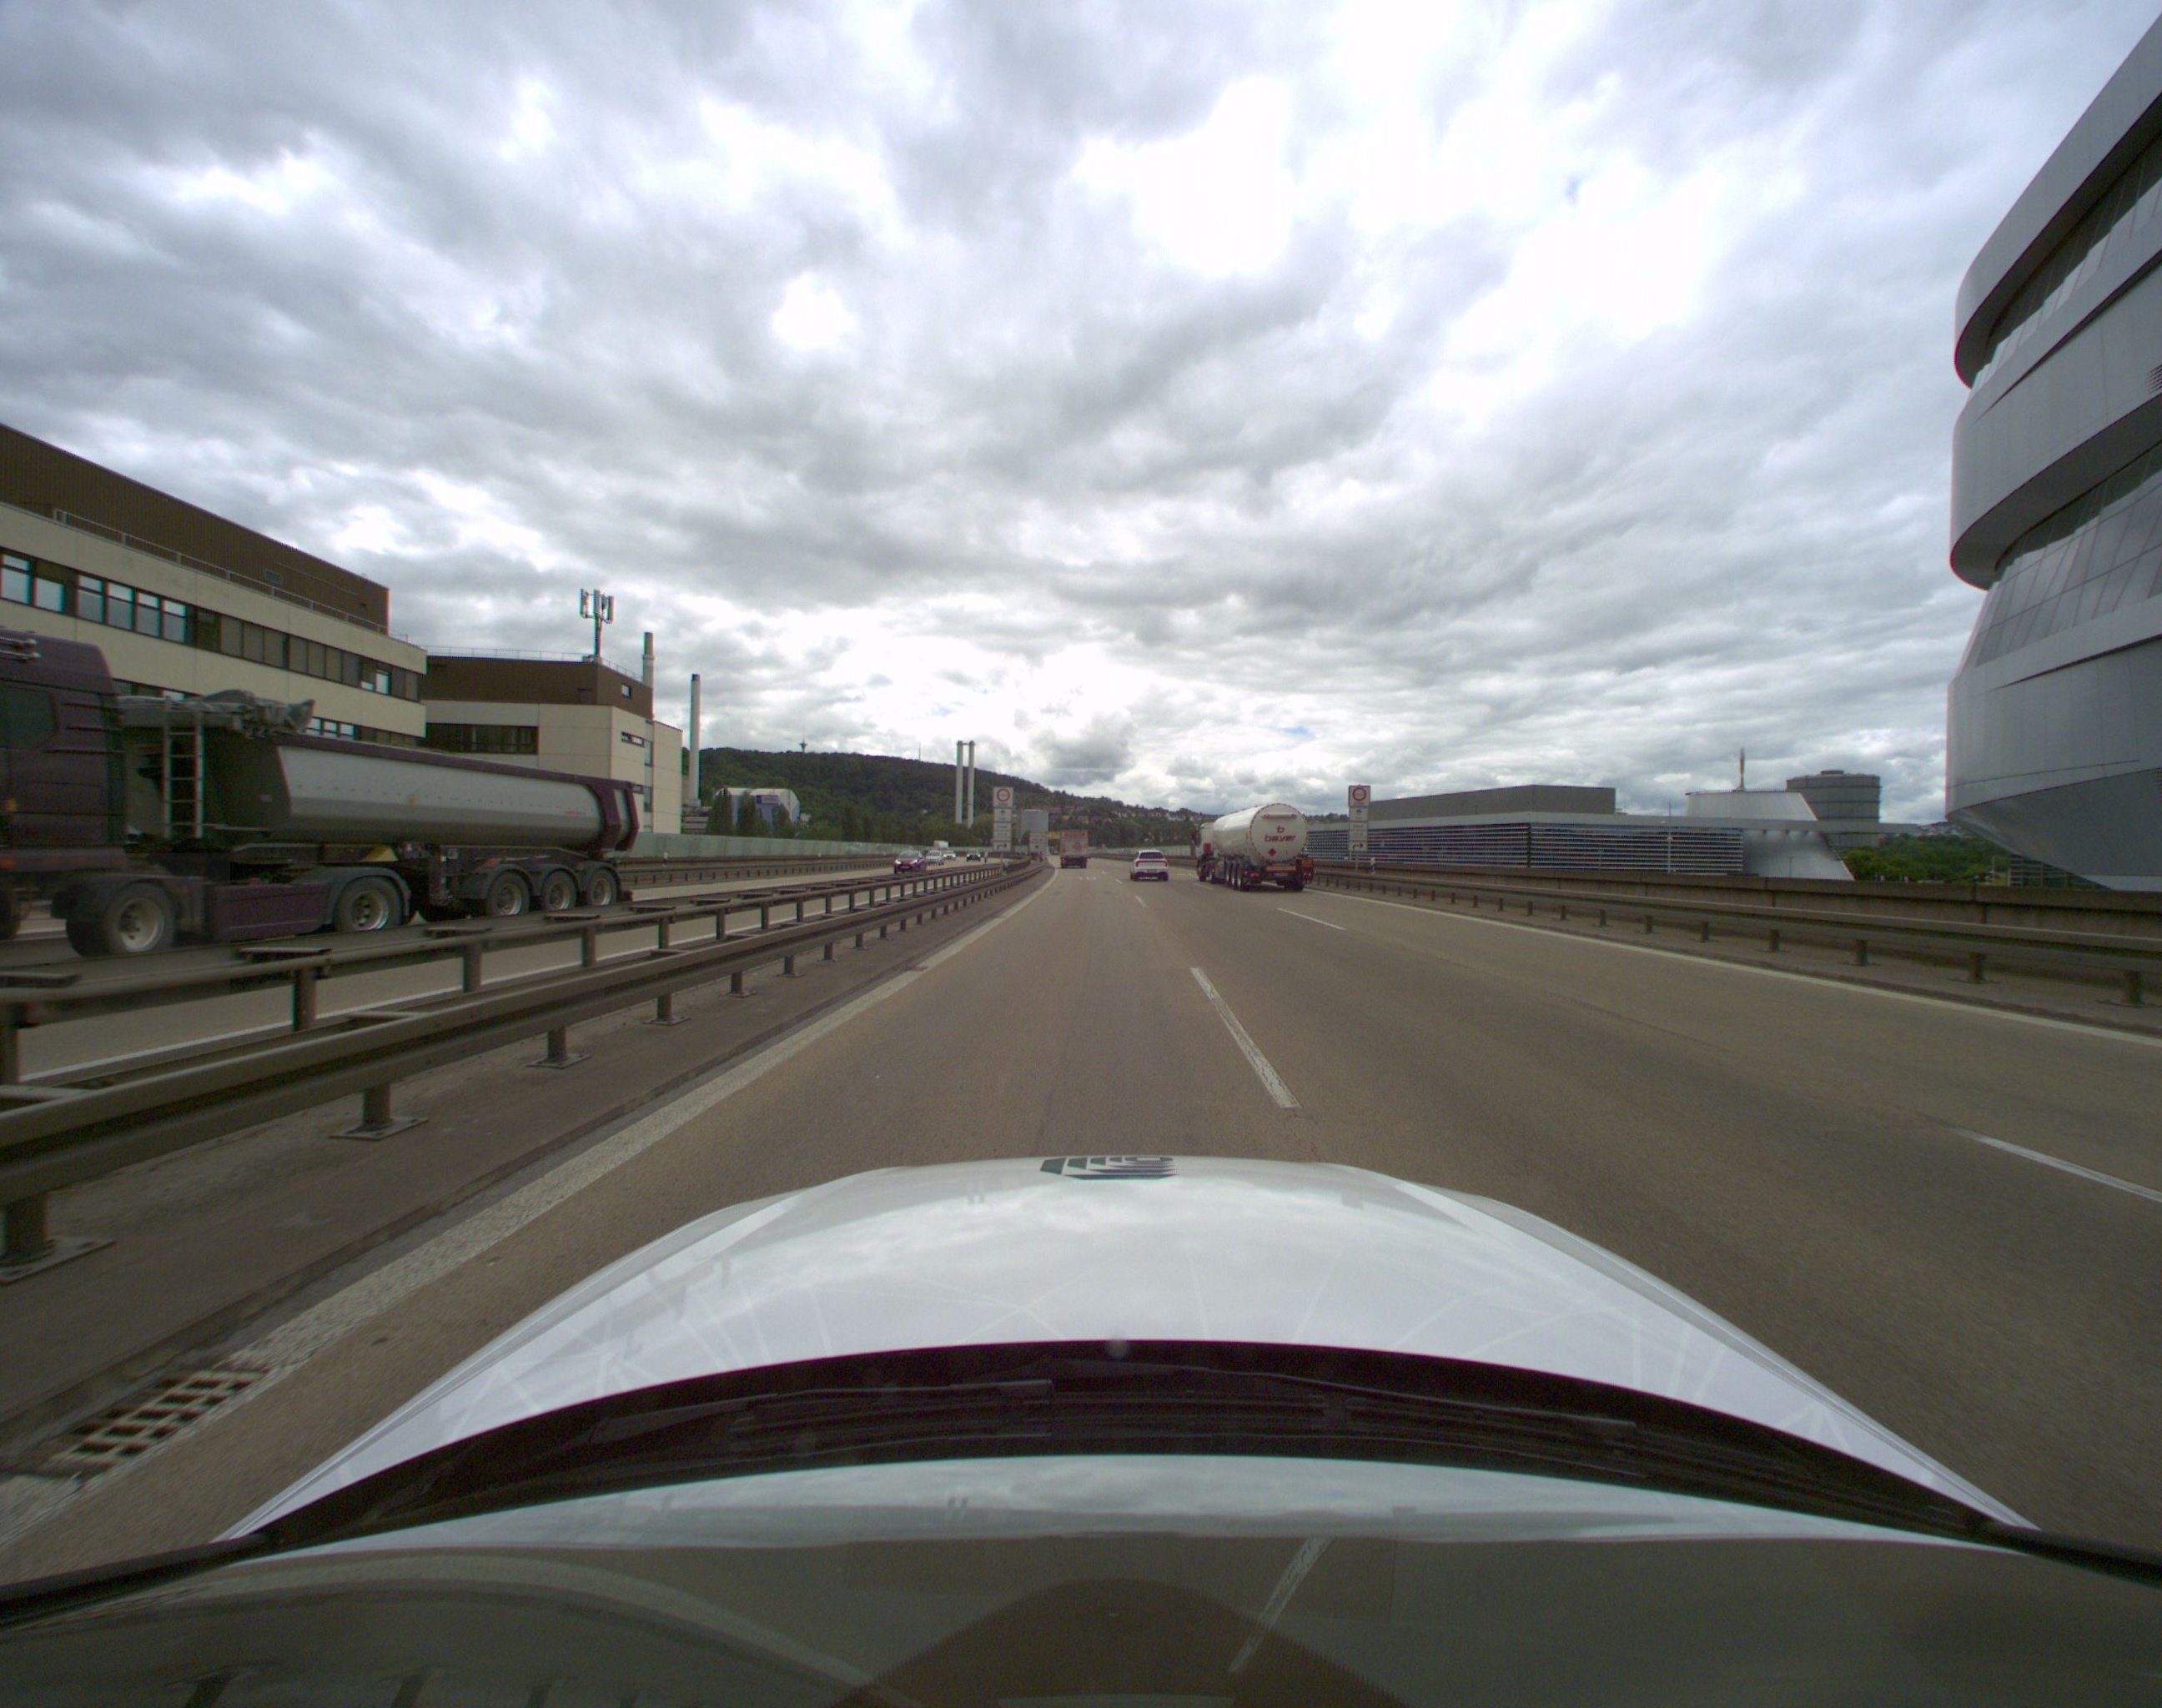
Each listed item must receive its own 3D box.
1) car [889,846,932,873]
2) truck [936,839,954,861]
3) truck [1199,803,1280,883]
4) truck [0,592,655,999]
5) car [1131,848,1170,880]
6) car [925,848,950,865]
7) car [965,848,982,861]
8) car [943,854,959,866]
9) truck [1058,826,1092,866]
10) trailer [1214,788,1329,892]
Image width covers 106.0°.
[{"bbox_3d":[-11.002,0.347,52.782,1.989,1.675,4.403,0,-1,-3],"label":"car"},{"bbox_3d":[-28.282,-0.810,169.760,3.052,4.562,8.287,0,-1,-5],"label":"truck"},{"bbox_3d":[7.812,-0.482,40.960,3.003,3.657,6.275,0,-1,1],"label":"truck"},{"bbox_3d":[-11.323,-0.504,12.583,2.800,3.809,12.025,0,0,2],"label":"truck"},{"bbox_3d":[3.763,0.530,44.934,1.985,1.675,4.411,0,-1,3],"label":"car"},{"bbox_3d":[-14.672,0.239,83.368,1.989,1.675,4.403,0,-1,-3],"label":"car"},{"bbox_3d":[-14.729,0.089,111.664,1.989,1.675,4.402,0,-1,-3],"label":"car"},{"bbox_3d":[-19.699,0.926,123.267,1.989,1.675,4.403,0,-1,-3],"label":"car"},{"bbox_3d":[-0.619,-0.693,78.587,3.048,3.691,8.299,0,-1,-1],"label":"truck"},{"bbox_3d":[7.665,-0.489,34.037,3.046,3.790,8.306,0,-1,2],"label":"trailer"}]
